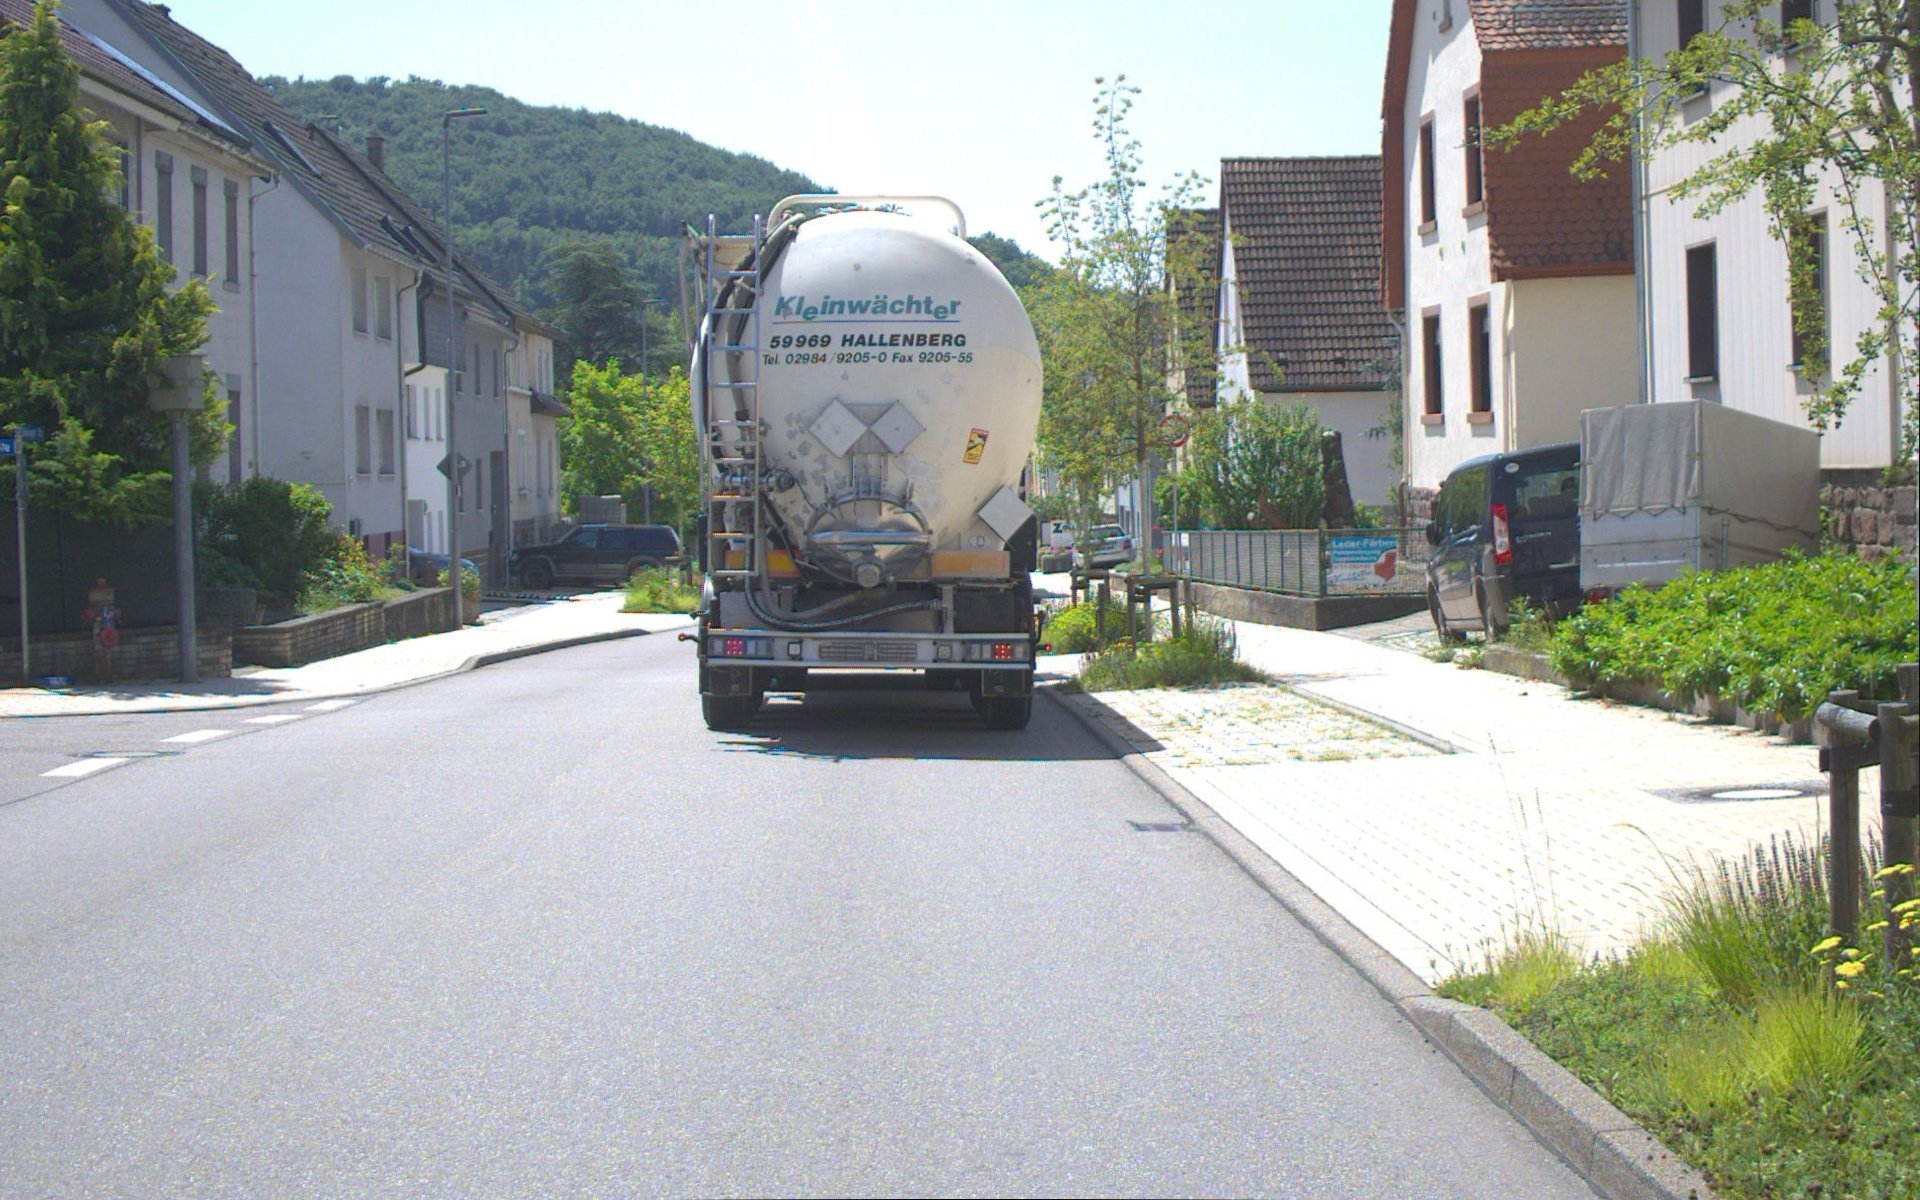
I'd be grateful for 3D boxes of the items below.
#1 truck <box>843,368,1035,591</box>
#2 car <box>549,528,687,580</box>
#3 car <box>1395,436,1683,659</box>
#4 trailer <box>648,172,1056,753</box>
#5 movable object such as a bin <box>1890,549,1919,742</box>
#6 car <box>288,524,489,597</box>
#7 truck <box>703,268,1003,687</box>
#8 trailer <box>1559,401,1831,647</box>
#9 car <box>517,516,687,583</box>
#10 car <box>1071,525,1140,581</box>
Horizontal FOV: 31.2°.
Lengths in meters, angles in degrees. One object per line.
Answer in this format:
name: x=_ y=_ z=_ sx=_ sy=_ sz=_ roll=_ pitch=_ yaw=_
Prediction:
truck: x=-0.633 y=-2.800 z=82.003 sx=3.910 sy=4.879 sz=9.798 roll=-2 pitch=1 yaw=-3
car: x=-9.584 y=-1.283 z=96.204 sx=3.546 sy=1.434 sz=1.695 roll=0 pitch=1 yaw=33
car: x=5.632 y=-0.519 z=34.037 sx=1.852 sy=1.964 sz=4.774 roll=-3 pitch=1 yaw=-1
trailer: x=-0.879 y=-1.071 z=28.785 sx=2.796 sy=3.987 sz=10.325 roll=0 pitch=1 yaw=-2
movable object such as a bin: x=5.890 y=0.244 z=20.046 sx=0.684 sy=1.111 sz=0.812 roll=-4 pitch=0 yaw=5
car: x=-12.156 y=-0.853 z=73.249 sx=3.987 sy=1.540 sz=1.832 roll=0 pitch=1 yaw=-1
truck: x=-1.007 y=-1.229 z=35.507 sx=2.808 sy=3.923 sz=6.099 roll=1 pitch=1 yaw=0
trailer: x=6.287 y=-0.644 z=29.338 sx=1.323 sy=2.007 sz=2.268 roll=1 pitch=1 yaw=41
car: x=-9.549 y=-1.361 z=92.042 sx=4.394 sy=1.744 sz=1.878 roll=0 pitch=1 yaw=-2
car: x=4.318 y=-1.413 z=102.691 sx=1.791 sy=1.536 sz=4.520 roll=-4 pitch=1 yaw=0
